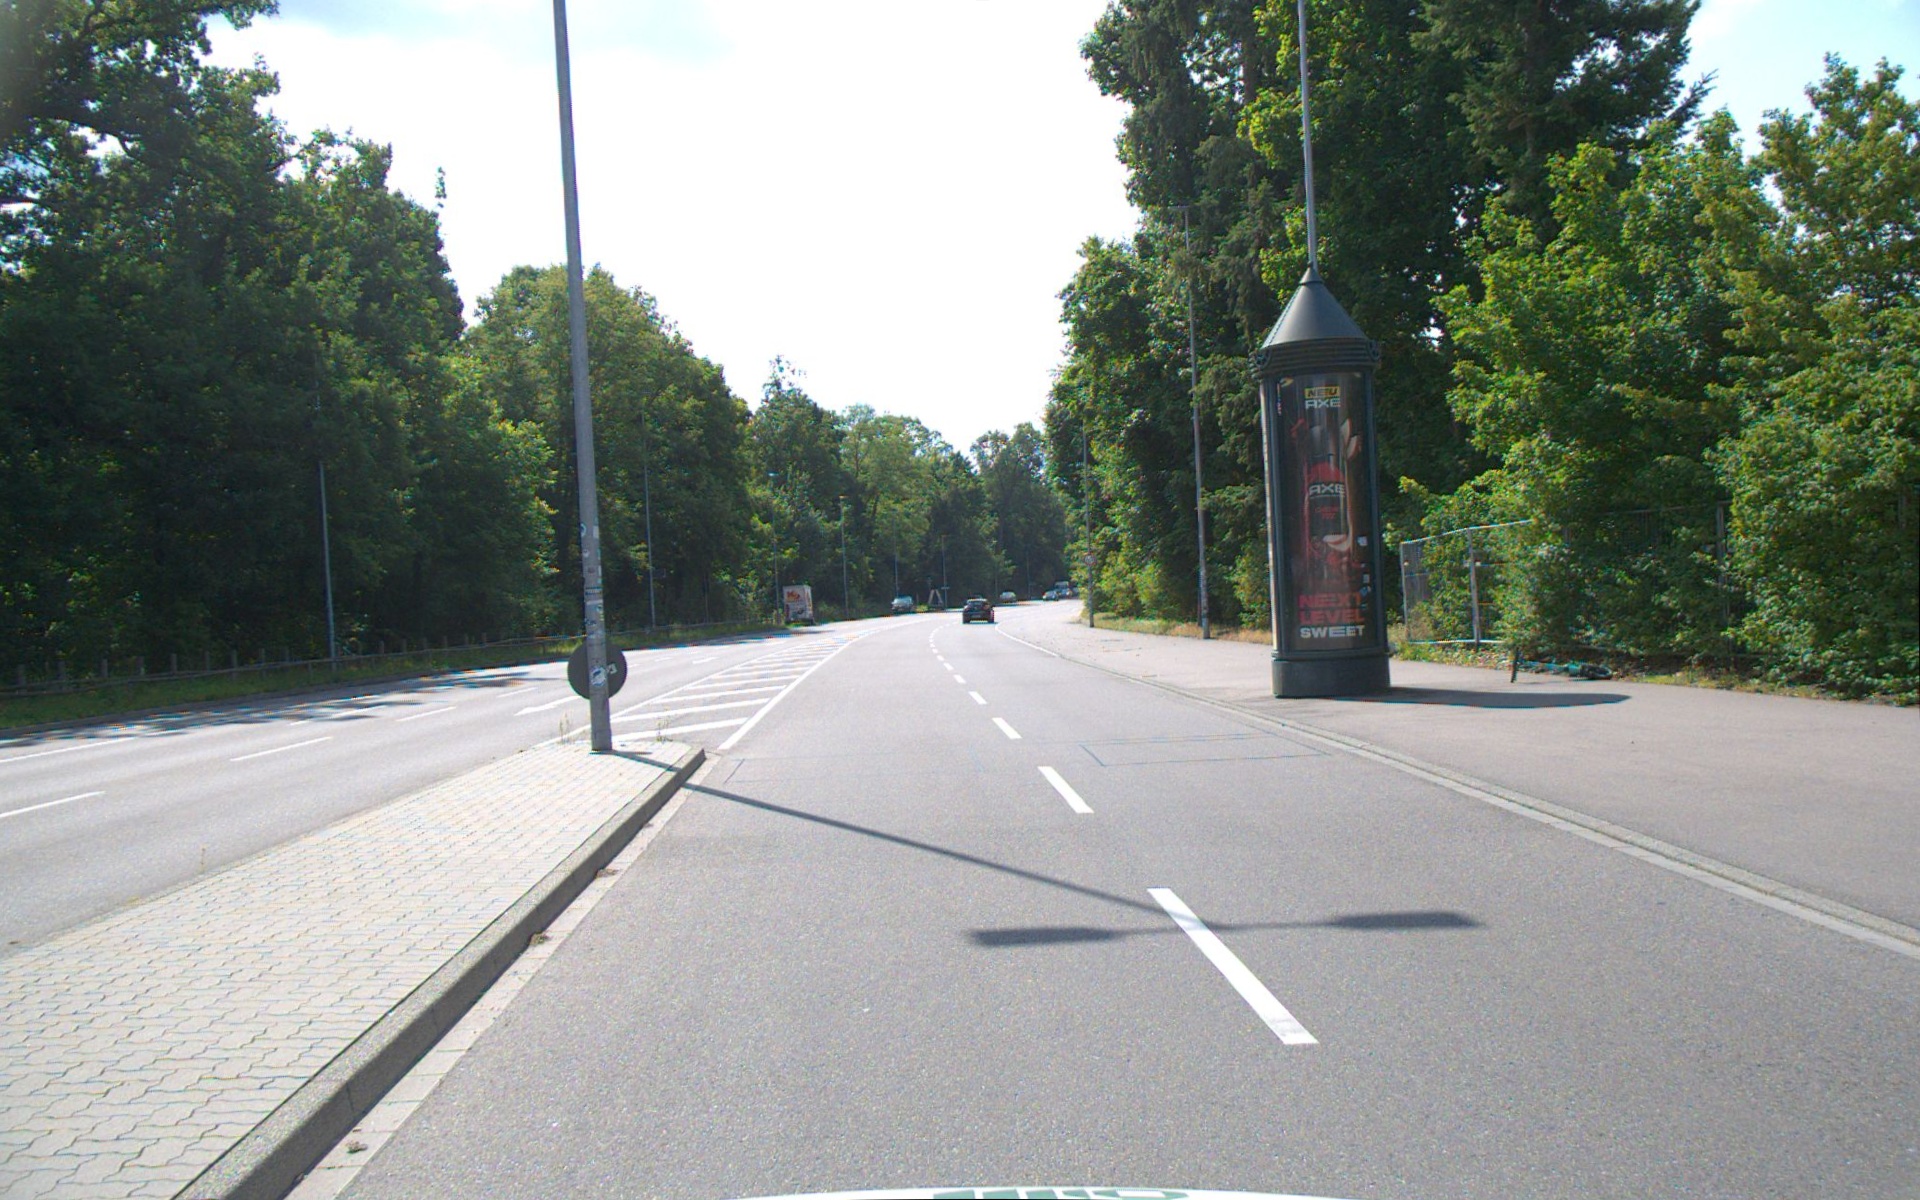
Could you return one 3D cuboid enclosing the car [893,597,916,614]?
[{"bbox_3d":[-5.137,0.487,153.586,1.471,1.471,3.532,-2,0,9],"label":"car"}]

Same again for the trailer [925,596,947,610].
[{"bbox_3d":[-2.523,0.291,176.174,1.680,1.378,3.735,-2,0,8],"label":"trailer"}]

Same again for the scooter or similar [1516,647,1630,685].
[{"bbox_3d":[7.965,0.858,21.557,0.836,0.395,1.472,2,0,-5],"label":"scooter or similar"}]

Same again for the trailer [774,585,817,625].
[{"bbox_3d":[-10.396,0.291,104.982,1.952,2.430,4.002,-2,0,4],"label":"trailer"}]

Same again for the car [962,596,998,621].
[{"bbox_3d":[1.219,0.514,100.358,1.563,1.402,3.979,-2,0,9],"label":"car"}]
